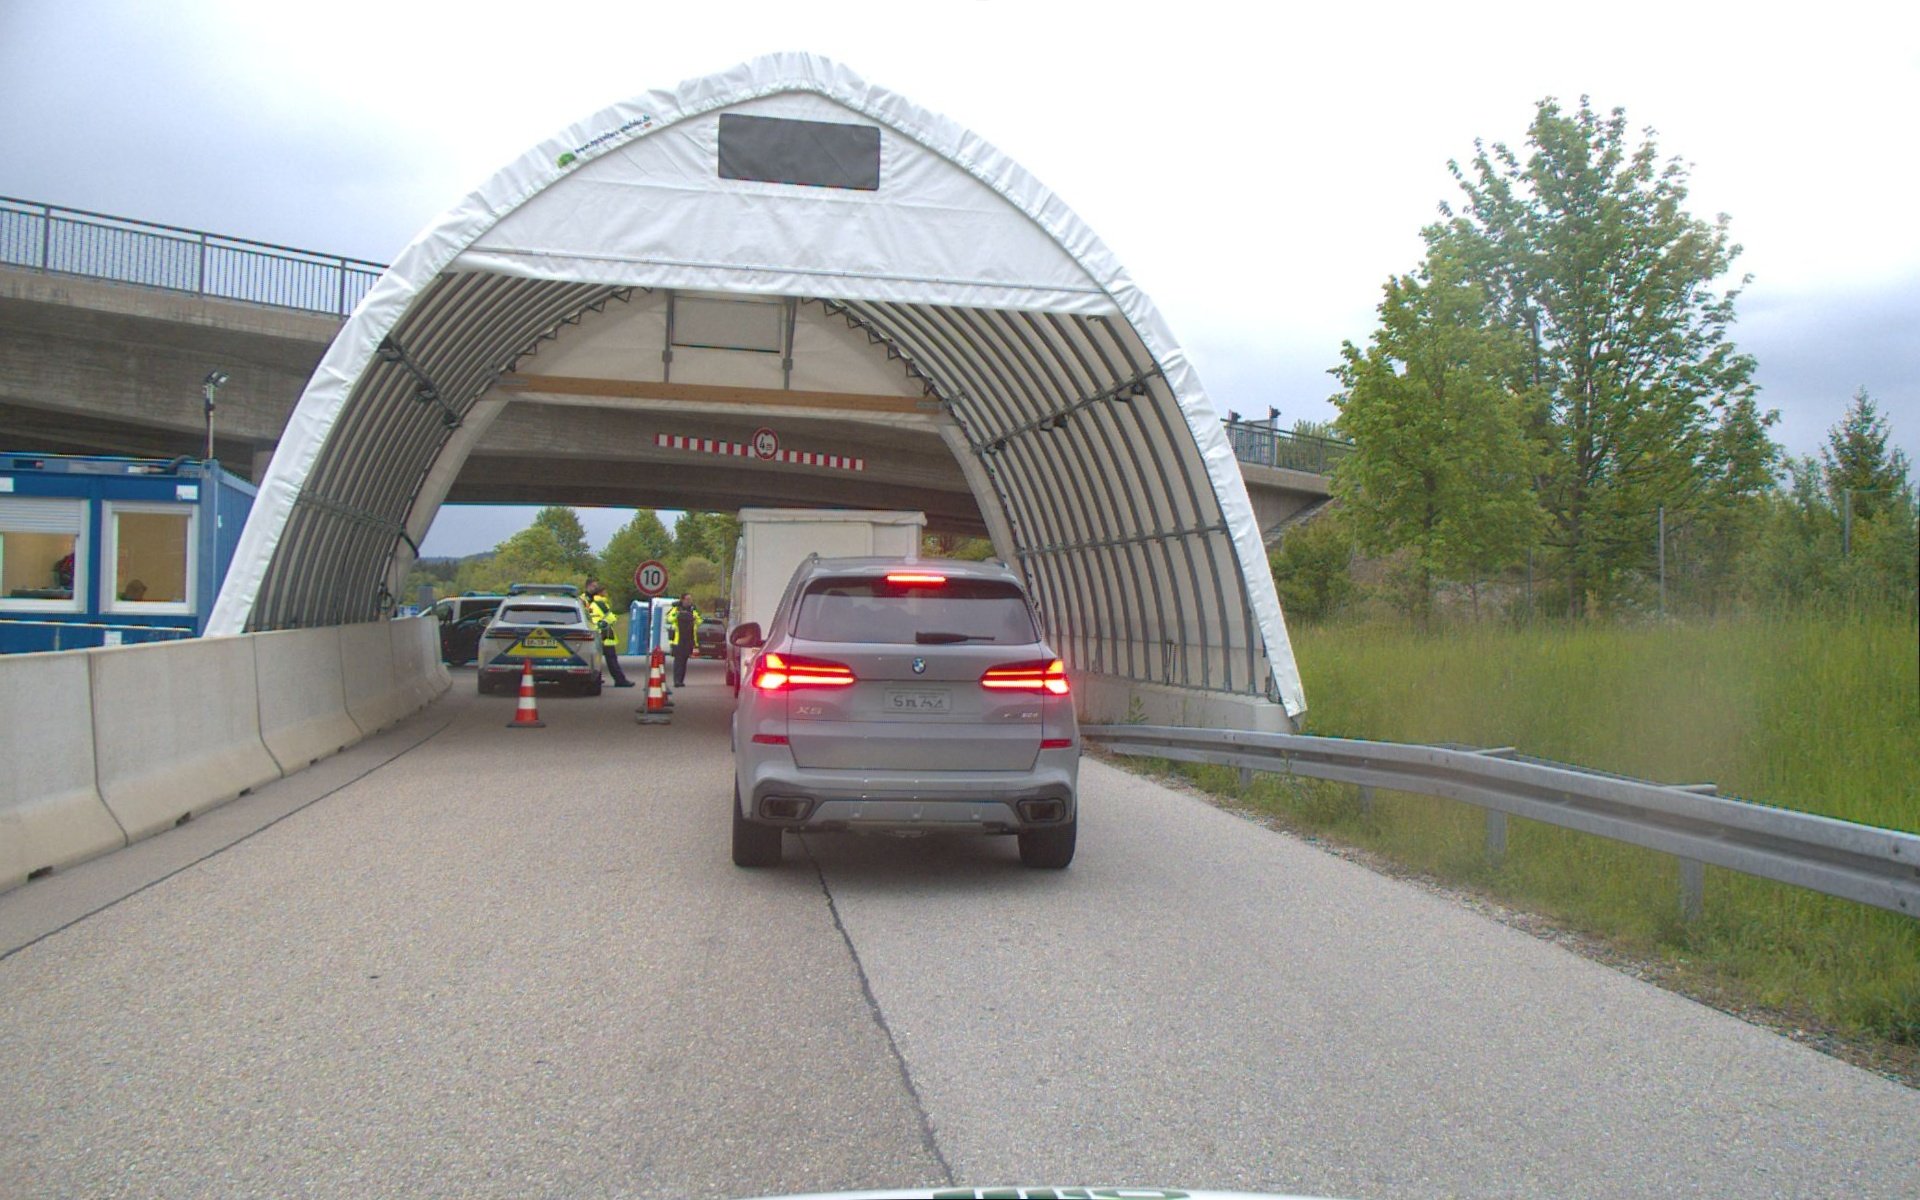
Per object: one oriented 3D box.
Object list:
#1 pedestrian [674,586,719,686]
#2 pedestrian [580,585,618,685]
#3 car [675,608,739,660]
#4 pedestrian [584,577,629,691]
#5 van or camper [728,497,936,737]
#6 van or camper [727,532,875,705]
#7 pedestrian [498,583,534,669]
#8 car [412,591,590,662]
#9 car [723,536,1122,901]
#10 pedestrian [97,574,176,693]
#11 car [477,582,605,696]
[{"bbox_3d":[-4.713,0.631,29.510,0.766,1.752,0.754,0,-1,-12],"label":"pedestrian"},{"bbox_3d":[-6.523,0.620,29.918,0.597,1.784,0.665,0,-1,-6],"label":"pedestrian"},{"bbox_3d":[-8.976,1.170,58.476,1.959,1.752,3.883,0,0,-13],"label":"car"},{"bbox_3d":[-6.161,0.592,28.812,0.736,1.952,0.760,0,-1,-15],"label":"pedestrian"},{"bbox_3d":[-1.843,0.203,21.352,2.189,2.597,6.597,0,0,-9],"label":"van or camper"},{"bbox_3d":[-2.751,0.300,27.413,2.065,2.563,5.538,0,0,-10],"label":"van or camper"},{"bbox_3d":[-10.733,0.631,40.021,0.686,2.049,0.692,0,-1,-1],"label":"pedestrian"},{"bbox_3d":[-13.479,0.769,48.696,4.703,2.049,1.842,0,-1,7],"label":"car"},{"bbox_3d":[-0.450,0.596,10.305,1.957,1.796,3.991,0,0,-9],"label":"car"},{"bbox_3d":[-9.837,0.395,19.768,0.597,1.397,0.628,0,-1,8],"label":"pedestrian"},{"bbox_3d":[-6.745,0.590,26.618,1.846,1.675,3.984,0,0,-15],"label":"car"}]
